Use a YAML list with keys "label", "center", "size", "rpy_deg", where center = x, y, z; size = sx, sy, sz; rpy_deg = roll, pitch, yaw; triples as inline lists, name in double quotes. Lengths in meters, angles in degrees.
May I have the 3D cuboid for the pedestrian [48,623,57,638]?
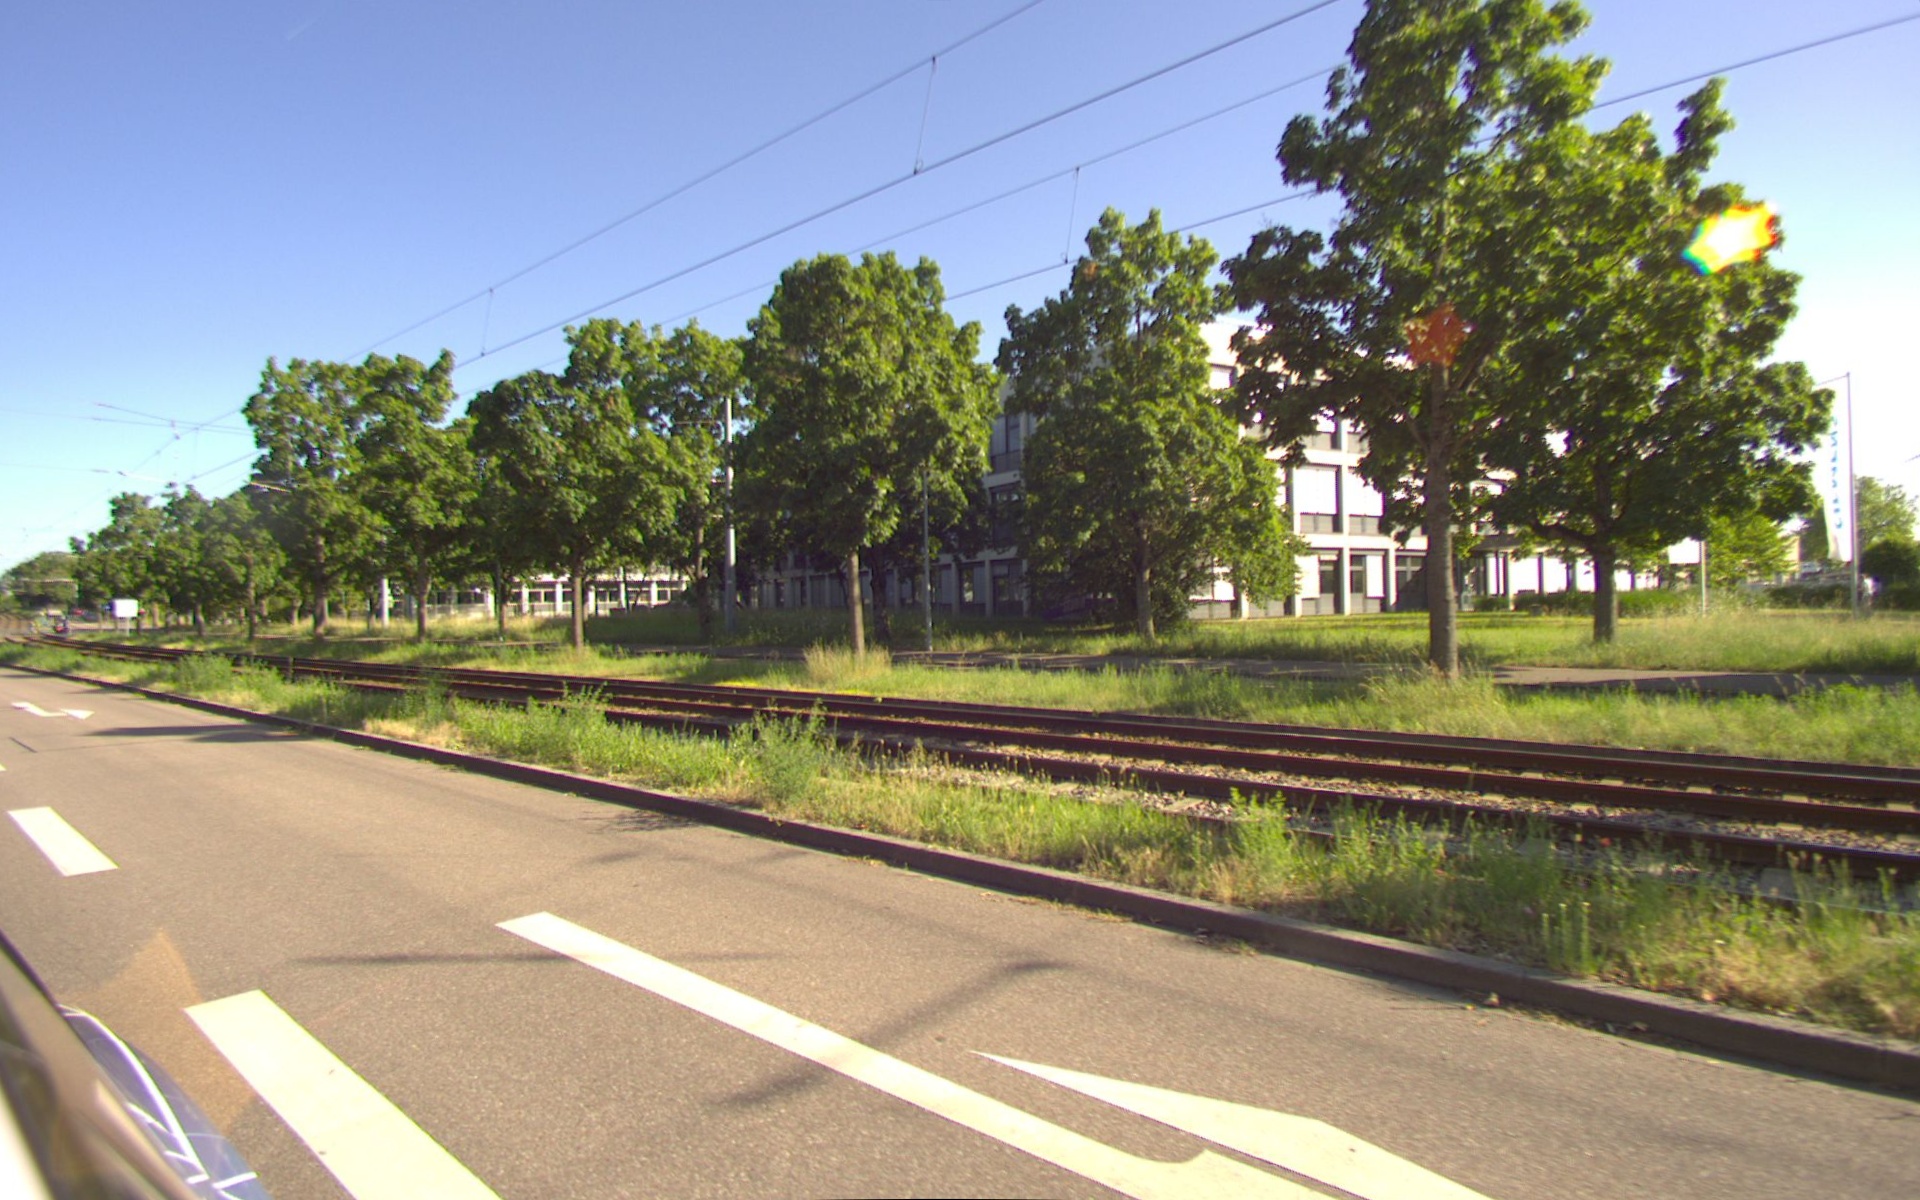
- label: "pedestrian"
  center: [-107.524, 3.585, 119.918]
  size: [0.782, 1.765, 0.775]
  rpy_deg: [-2, 0, 44]
